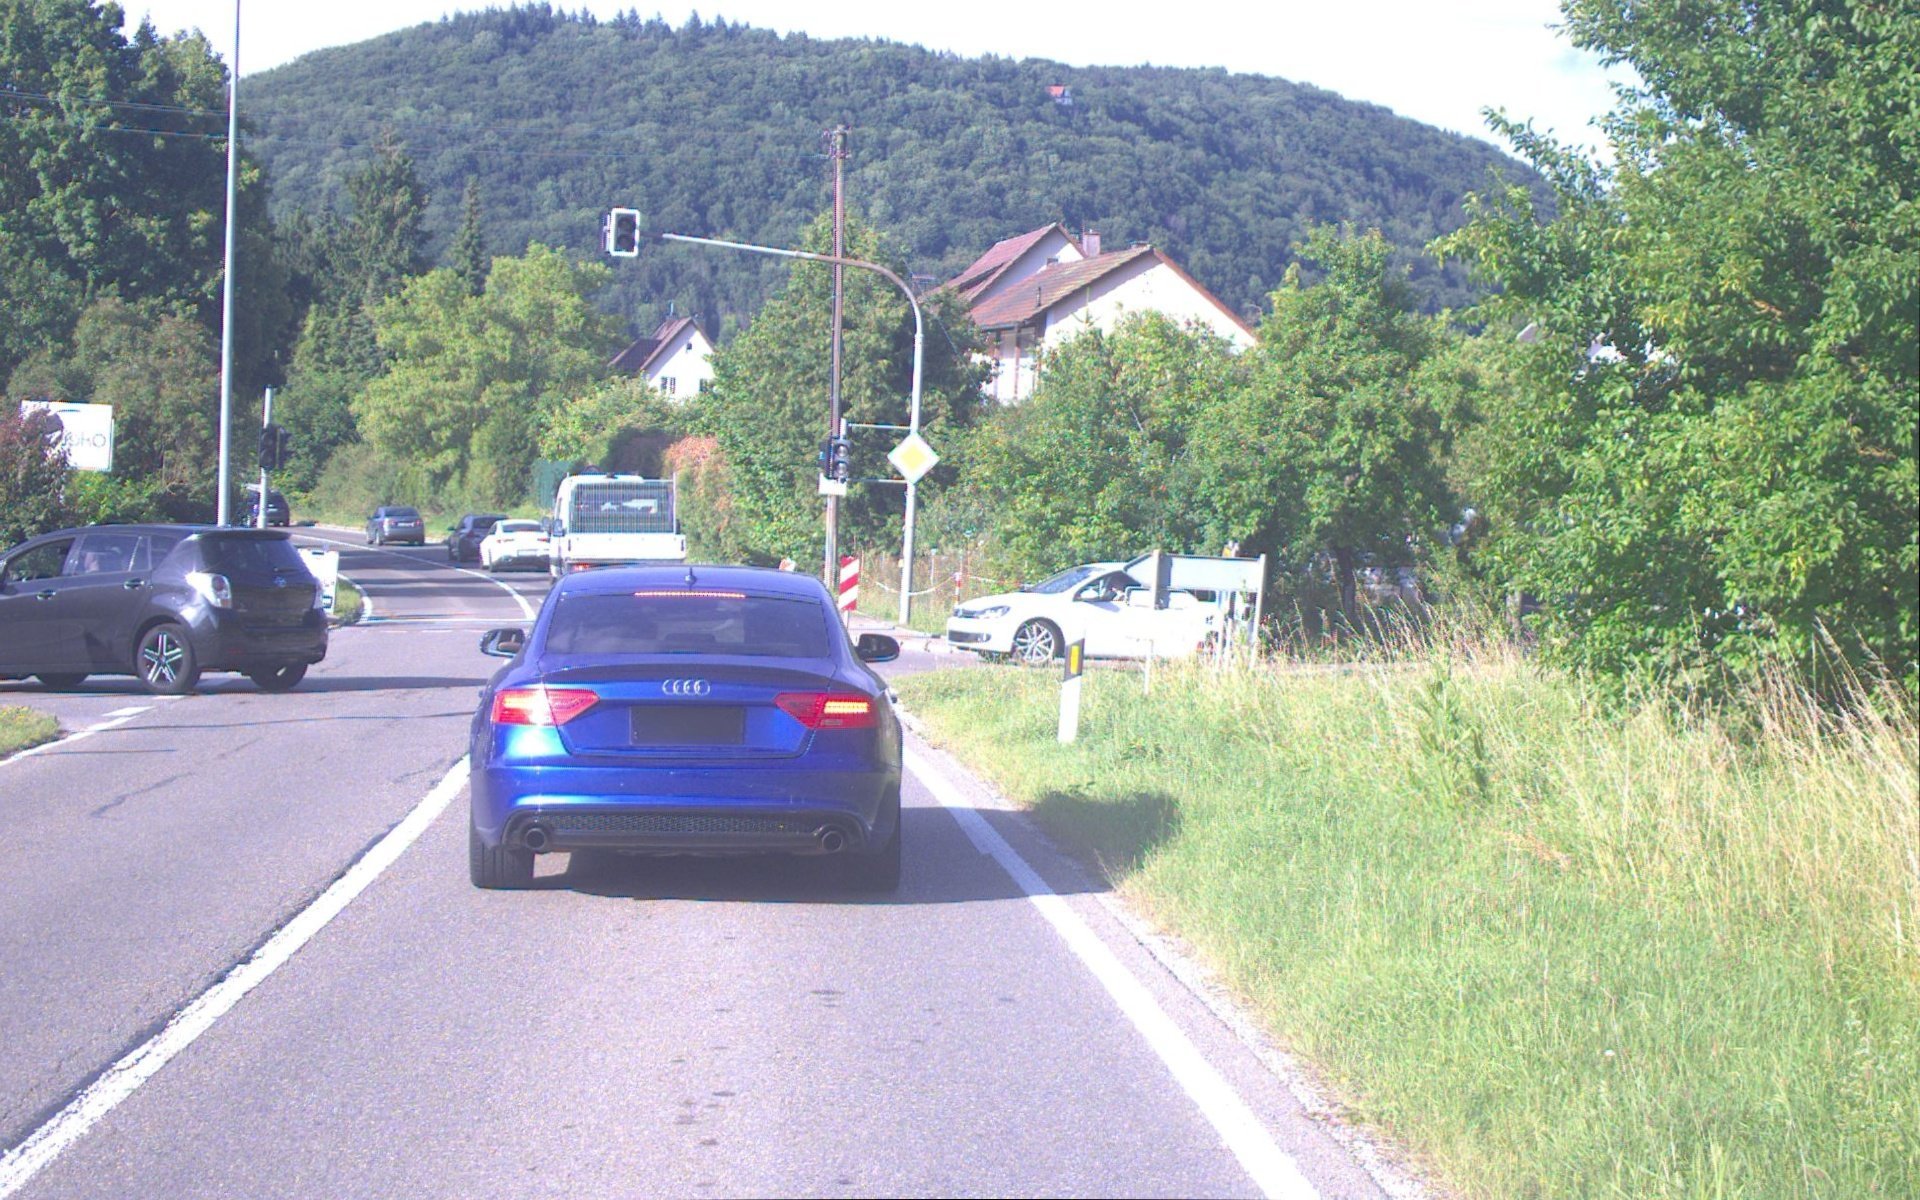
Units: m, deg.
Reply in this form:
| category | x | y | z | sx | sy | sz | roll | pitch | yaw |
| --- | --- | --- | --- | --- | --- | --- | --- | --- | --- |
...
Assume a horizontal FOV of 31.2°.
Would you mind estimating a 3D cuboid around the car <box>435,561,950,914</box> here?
| category | x | y | z | sx | sy | sz | roll | pitch | yaw |
| --- | --- | --- | --- | --- | --- | --- | --- | --- | --- |
| car | -1.065 | 0.529 | 15.540 | 1.795 | 1.383 | 4.000 | 0 | 0 | 3 |

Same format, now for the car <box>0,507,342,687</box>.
| category | x | y | z | sx | sy | sz | roll | pitch | yaw |
| --- | --- | --- | --- | --- | --- | --- | --- | --- | --- |
| car | -8.140 | -0.052 | 33.130 | 3.992 | 1.634 | 1.749 | 1 | 0 | 24 |

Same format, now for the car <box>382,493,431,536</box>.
| category | x | y | z | sx | sy | sz | roll | pitch | yaw |
| --- | --- | --- | --- | --- | --- | --- | --- | --- | --- |
| car | -20.378 | -3.141 | 126.594 | 1.697 | 1.485 | 3.528 | 1 | 0 | -8 |

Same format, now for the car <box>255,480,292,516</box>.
| category | x | y | z | sx | sy | sz | roll | pitch | yaw |
| --- | --- | --- | --- | --- | --- | --- | --- | --- | --- |
| car | -31.942 | -4.757 | 159.999 | 1.625 | 1.571 | 3.680 | 1 | 0 | -11 |

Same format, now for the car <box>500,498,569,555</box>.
| category | x | y | z | sx | sy | sz | roll | pitch | yaw |
| --- | --- | --- | --- | --- | --- | --- | --- | --- | --- |
| car | -11.767 | -2.012 | 94.900 | 1.697 | 1.485 | 3.528 | 1 | 0 | -10 |

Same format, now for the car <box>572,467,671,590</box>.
| category | x | y | z | sx | sy | sz | roll | pitch | yaw |
| --- | --- | --- | --- | --- | --- | --- | --- | --- | --- |
| car | -6.275 | -1.310 | 63.992 | 1.746 | 2.188 | 4.001 | 1 | 0 | -5 |

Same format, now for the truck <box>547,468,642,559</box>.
| category | x | y | z | sx | sy | sz | roll | pitch | yaw |
| --- | --- | --- | --- | --- | --- | --- | --- | --- | --- |
| truck | -8.305 | -1.912 | 77.697 | 1.697 | 1.947 | 5.924 | 1 | 0 | -10 |

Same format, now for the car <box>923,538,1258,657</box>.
| category | x | y | z | sx | sy | sz | roll | pitch | yaw |
| --- | --- | --- | --- | --- | --- | --- | --- | --- | --- |
| car | 1.729 | -0.030 | 45.778 | 4.043 | 1.503 | 1.856 | 1 | 0 | -18 |

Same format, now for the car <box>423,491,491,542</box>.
| category | x | y | z | sx | sy | sz | roll | pitch | yaw |
| --- | --- | --- | --- | --- | --- | --- | --- | --- | --- |
| car | -15.467 | -2.544 | 105.588 | 1.697 | 1.485 | 3.528 | 1 | 0 | -14 |
